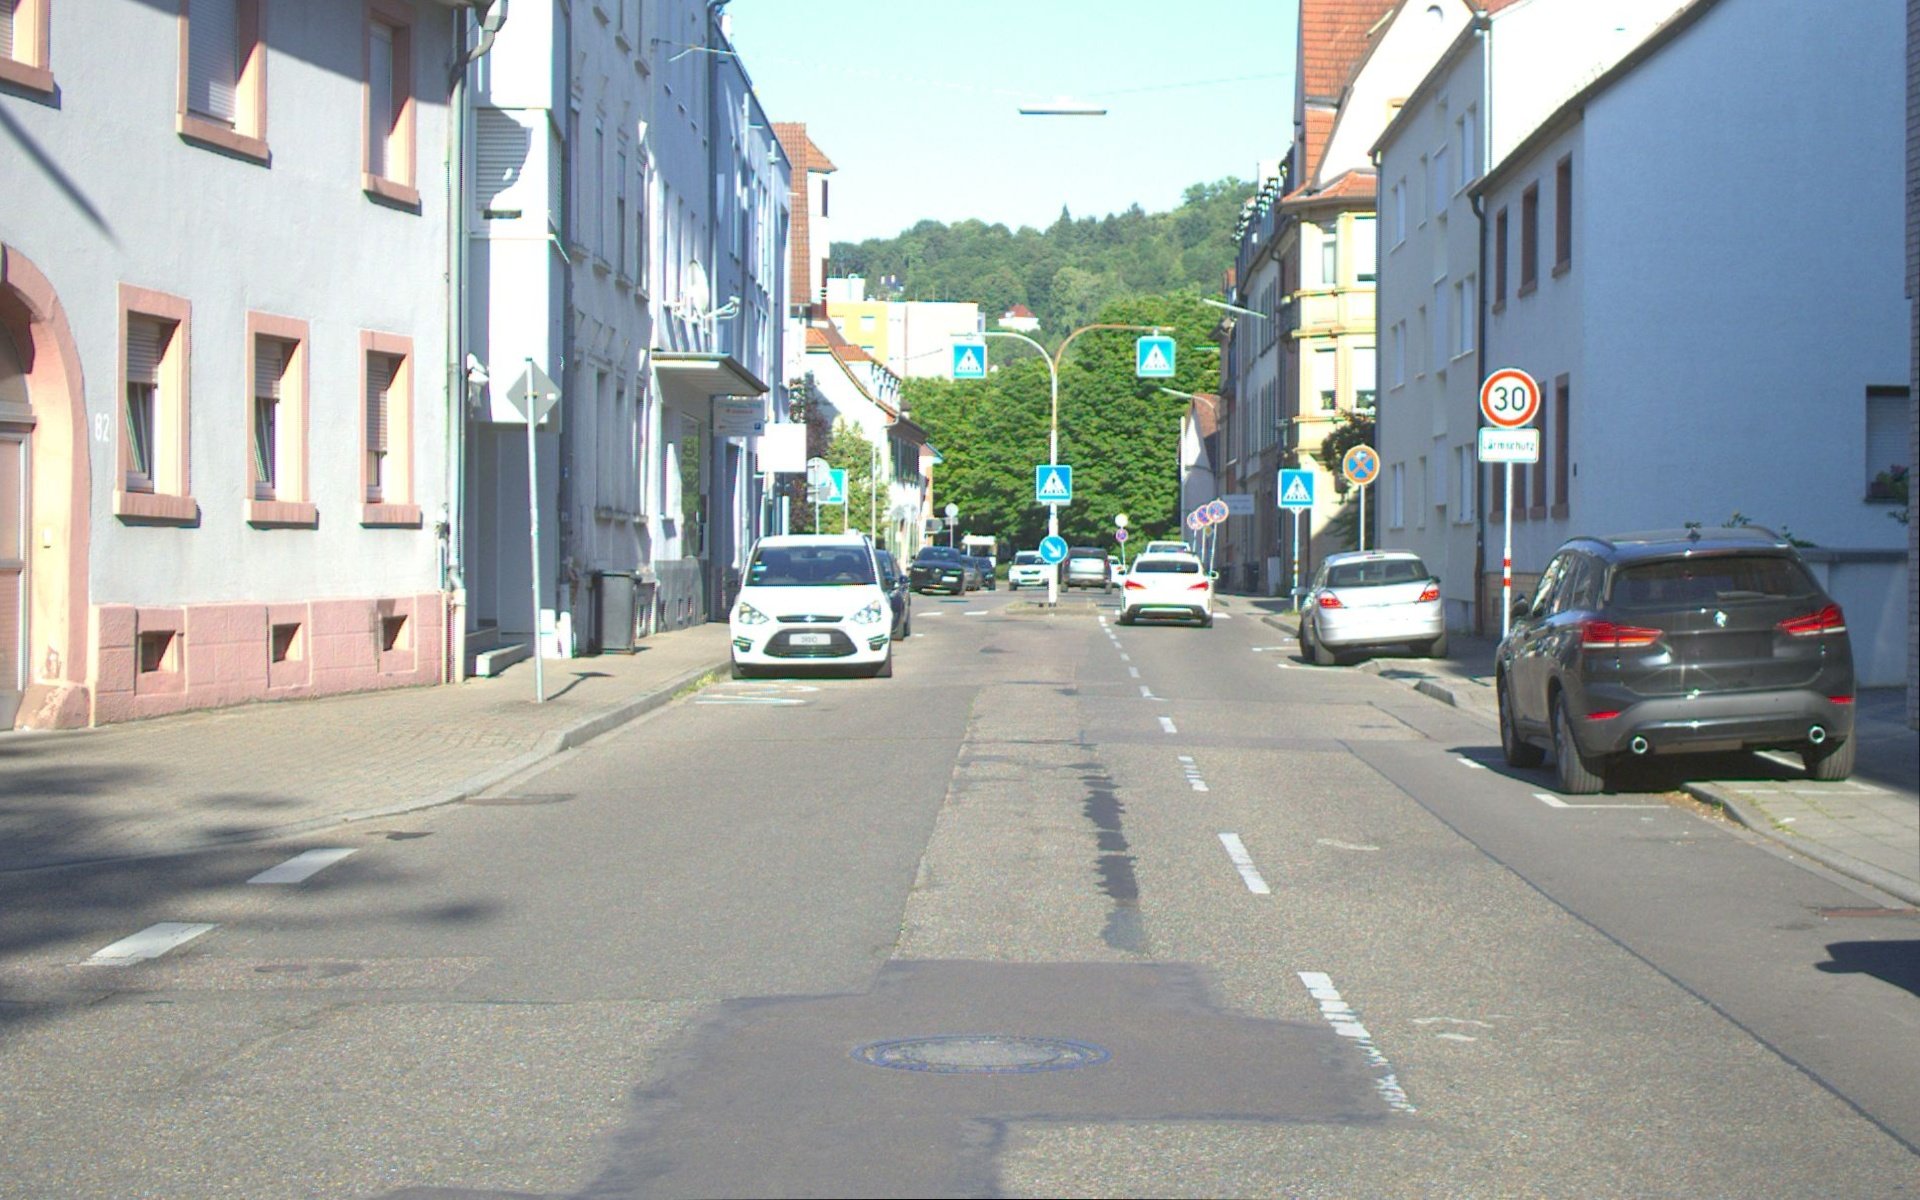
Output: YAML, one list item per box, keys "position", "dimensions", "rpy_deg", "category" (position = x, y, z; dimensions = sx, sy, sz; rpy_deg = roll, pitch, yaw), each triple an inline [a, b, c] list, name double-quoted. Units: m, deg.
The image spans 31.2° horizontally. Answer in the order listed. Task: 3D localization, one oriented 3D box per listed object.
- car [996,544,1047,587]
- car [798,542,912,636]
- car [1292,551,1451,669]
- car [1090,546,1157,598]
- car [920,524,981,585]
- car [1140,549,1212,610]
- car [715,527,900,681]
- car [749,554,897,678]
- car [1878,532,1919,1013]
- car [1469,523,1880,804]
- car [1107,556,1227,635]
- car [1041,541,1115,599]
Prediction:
- position: [2.525, -1.439, 142.220]
  dimensions: [1.807, 1.696, 4.192]
  rpy_deg: [-1, 1, -2]
  category: "car"
- position: [-1.700, -0.178, 56.813]
  dimensions: [1.731, 1.494, 3.959]
  rpy_deg: [0, 0, 0]
  category: "car"
- position: [5.483, 0.093, 46.198]
  dimensions: [1.741, 1.487, 4.438]
  rpy_deg: [-1, 1, 2]
  category: "car"
- position: [6.610, -1.149, 139.664]
  dimensions: [1.993, 2.007, 4.001]
  rpy_deg: [1, 1, -8]
  category: "car"
- position: [-0.335, -1.552, 117.060]
  dimensions: [1.993, 2.007, 4.000]
  rpy_deg: [1, 1, 0]
  category: "car"
- position: [6.950, -0.684, 110.995]
  dimensions: [2.011, 1.846, 4.000]
  rpy_deg: [2, 1, 0]
  category: "car"
- position: [-1.745, -0.006, 40.267]
  dimensions: [1.993, 1.642, 5.222]
  rpy_deg: [1, 1, -2]
  category: "car"
- position: [-1.753, 0.172, 44.993]
  dimensions: [1.764, 1.490, 4.126]
  rpy_deg: [-1, 1, 0]
  category: "car"
- position: [4.350, 0.656, 9.917]
  dimensions: [1.993, 1.647, 4.763]
  rpy_deg: [1, 1, -1]
  category: "car"
- position: [4.604, 0.329, 22.824]
  dimensions: [1.854, 1.630, 4.623]
  rpy_deg: [-2, 1, 2]
  category: "car"
- position: [3.967, -0.115, 66.412]
  dimensions: [1.993, 1.461, 4.000]
  rpy_deg: [1, 1, -1]
  category: "car"
- position: [4.162, -1.072, 121.851]
  dimensions: [1.993, 2.007, 4.001]
  rpy_deg: [0, 1, -7]
  category: "car"
